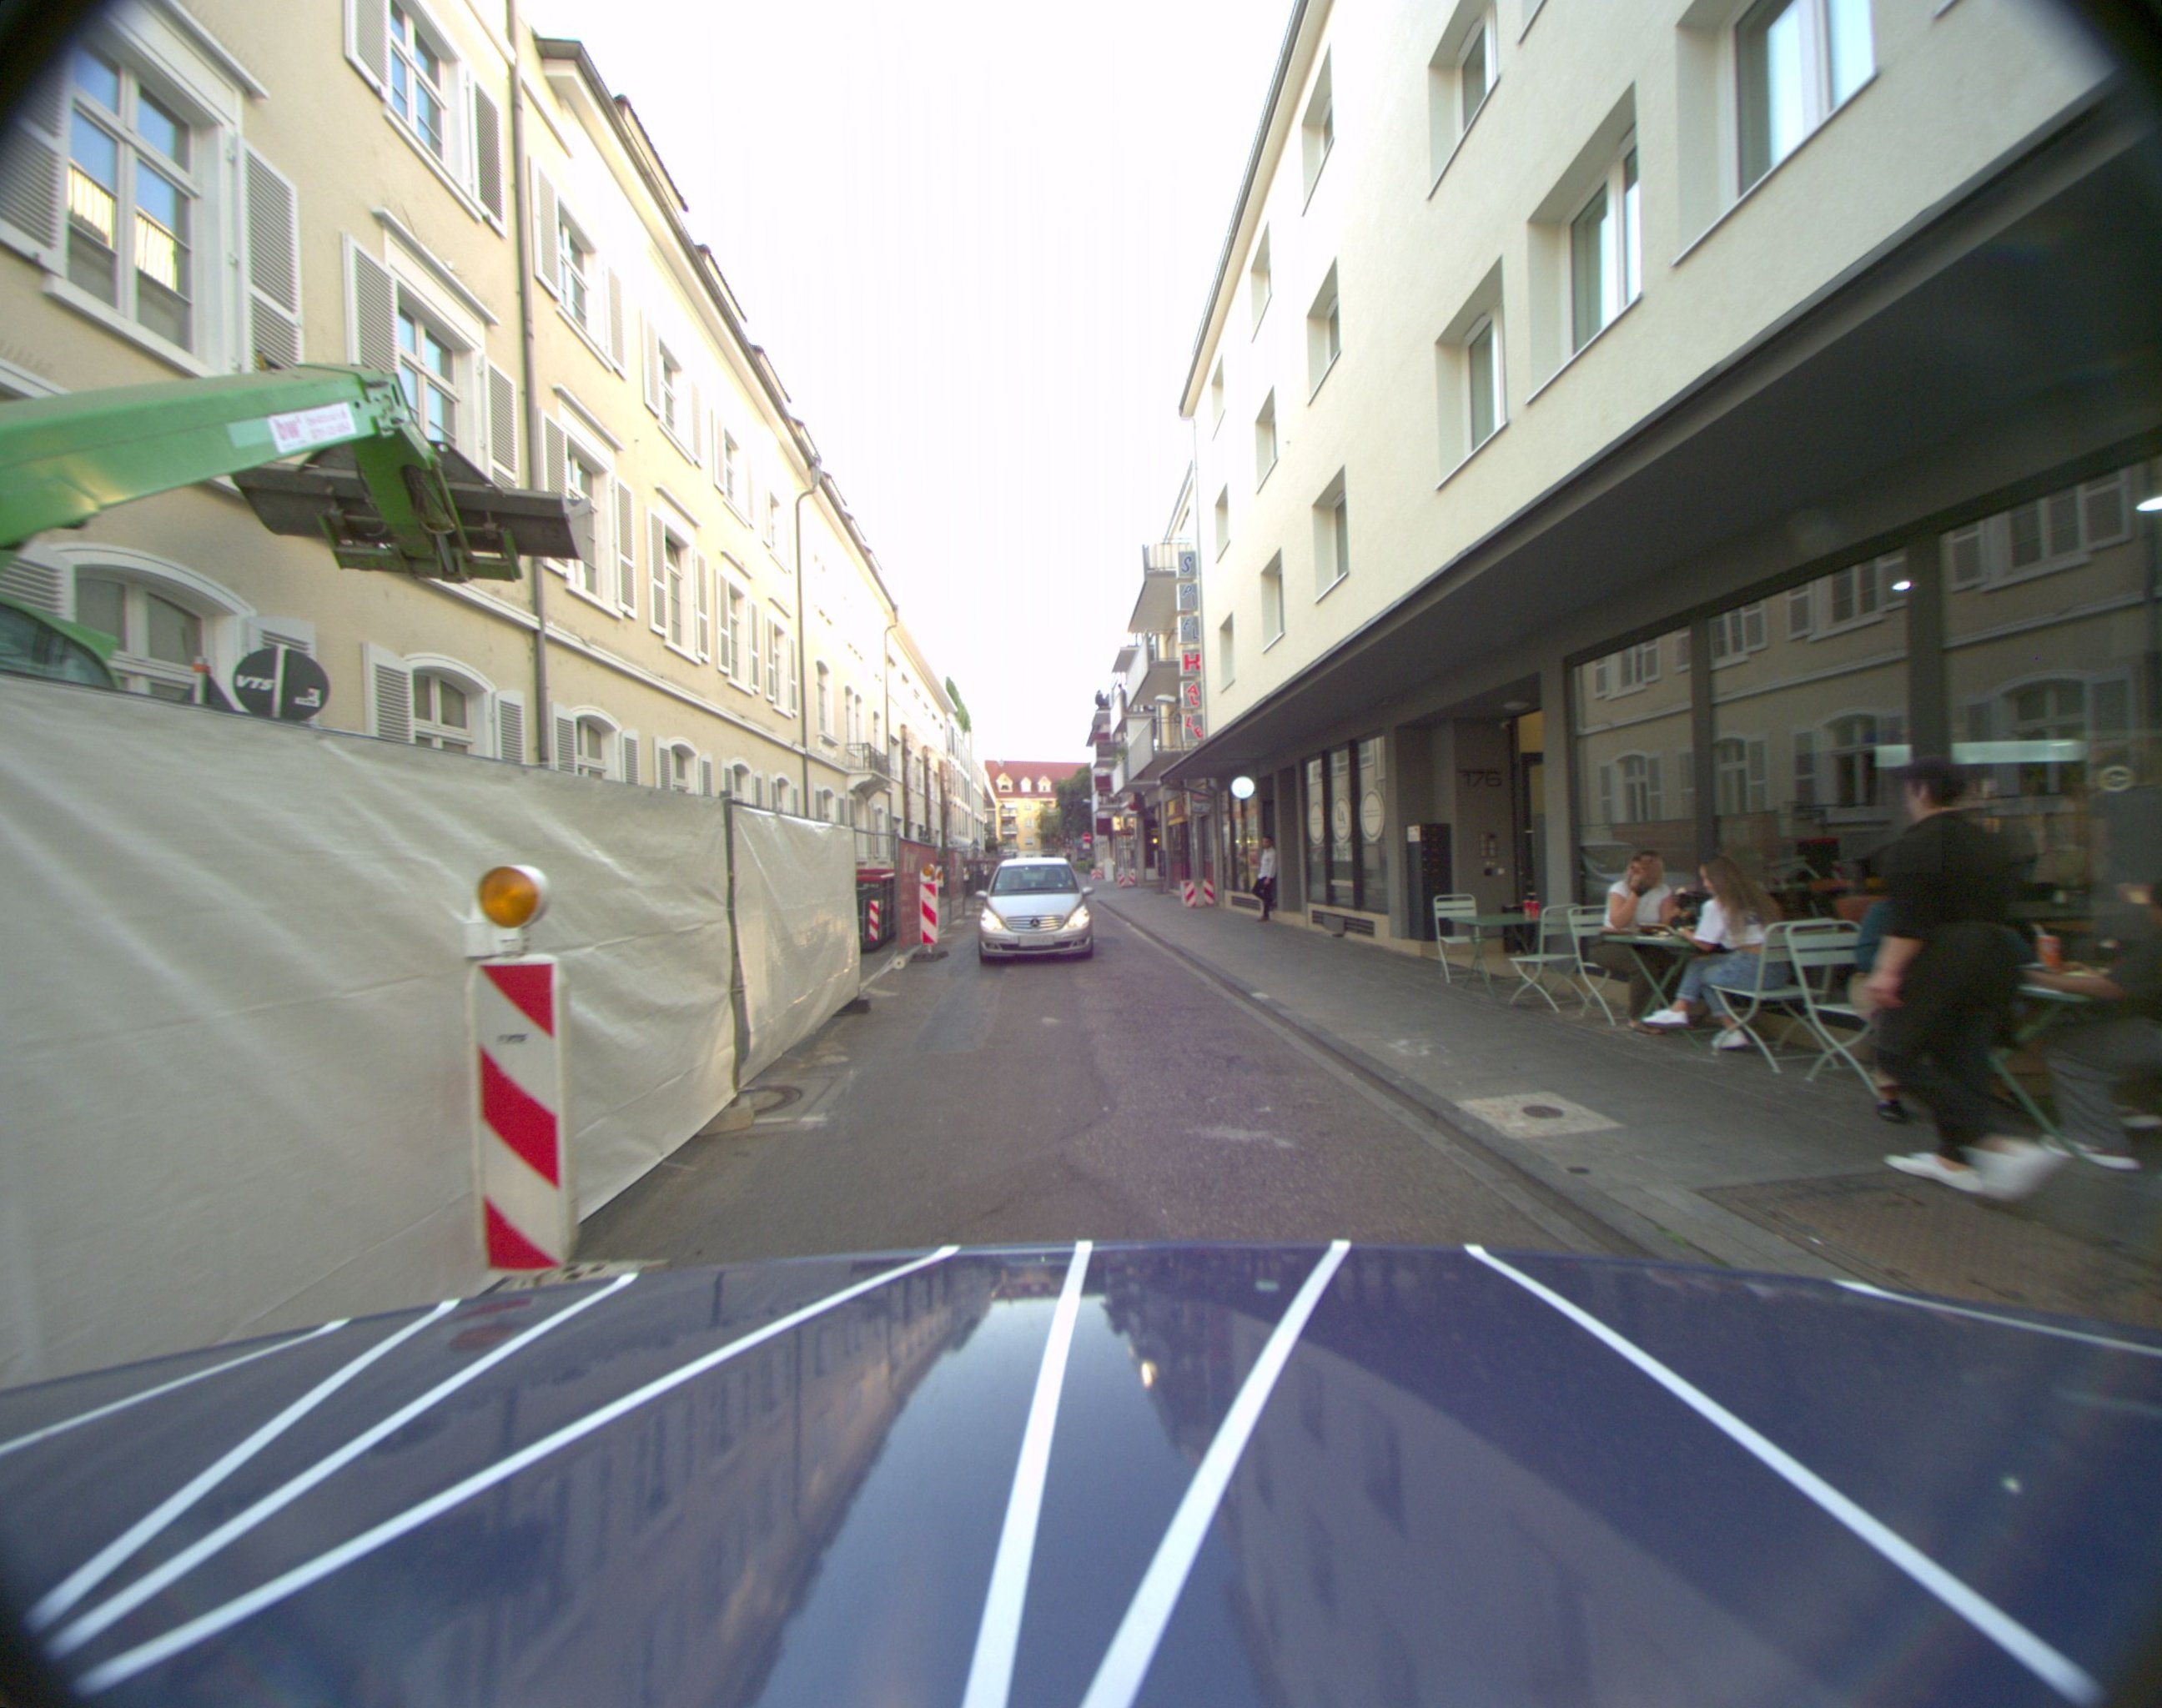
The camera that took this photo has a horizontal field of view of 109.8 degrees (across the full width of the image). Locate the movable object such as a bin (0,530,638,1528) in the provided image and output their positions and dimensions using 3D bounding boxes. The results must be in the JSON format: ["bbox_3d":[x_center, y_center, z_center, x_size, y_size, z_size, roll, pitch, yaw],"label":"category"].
[{"bbox_3d":[-4.418,0.511,3.179,2.612,2.822,4.449,-1,0,-3],"label":"movable object such as a bin"}]

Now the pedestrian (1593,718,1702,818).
[{"bbox_3d":[14.112,-2.011,19.081,1.994,2.002,4.008,-1,0,35],"label":"pedestrian"}]

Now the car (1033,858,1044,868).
[{"bbox_3d":[-5.974,1.309,107.197,1.539,1.317,3.352,-2,0,-3],"label":"car"}]

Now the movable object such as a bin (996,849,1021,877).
[{"bbox_3d":[-7.299,0.940,76.973,2.021,2.607,5.750,-4,-1,-2],"label":"movable object such as a bin"}]

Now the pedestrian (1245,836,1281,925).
[{"bbox_3d":[3.819,0.559,15.970,0.532,1.823,0.562,-2,0,-9],"label":"pedestrian"}]

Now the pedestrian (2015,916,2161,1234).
[{"bbox_3d":[4.230,0.827,2.826,0.574,1.107,0.713,-4,0,-3],"label":"pedestrian"}]

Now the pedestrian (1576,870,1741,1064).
[{"bbox_3d":[4.140,0.771,5.495,0.574,1.268,0.713,-4,0,-3],"label":"pedestrian"}]

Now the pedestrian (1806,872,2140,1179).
[{"bbox_3d":[4.191,0.746,3.632,0.704,1.268,0.713,-4,0,-3],"label":"pedestrian"}]

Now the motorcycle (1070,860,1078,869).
[{"bbox_3d":[-1.023,1.490,109.523,0.858,1.345,1.960,-2,0,6],"label":"motorcycle"}]

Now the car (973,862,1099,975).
[{"bbox_3d":[-0.751,0.976,13.163,1.805,1.607,4.272,-1,-1,-3],"label":"car"}]

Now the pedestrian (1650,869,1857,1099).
[{"bbox_3d":[4.122,0.750,4.708,0.574,1.268,0.713,-4,0,-3],"label":"pedestrian"}]

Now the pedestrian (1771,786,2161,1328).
[{"bbox_3d":[3.411,0.616,2.820,0.798,1.658,0.902,-3,1,-5],"label":"pedestrian"}]

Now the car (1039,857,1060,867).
[{"bbox_3d":[-4.995,1.235,120.397,1.830,1.460,4.319,-1,2,-25],"label":"car"}]

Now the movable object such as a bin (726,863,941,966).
[{"bbox_3d":[-5.018,1.095,17.072,2.744,1.629,7.550,-2,0,-4],"label":"movable object such as a bin"}]
